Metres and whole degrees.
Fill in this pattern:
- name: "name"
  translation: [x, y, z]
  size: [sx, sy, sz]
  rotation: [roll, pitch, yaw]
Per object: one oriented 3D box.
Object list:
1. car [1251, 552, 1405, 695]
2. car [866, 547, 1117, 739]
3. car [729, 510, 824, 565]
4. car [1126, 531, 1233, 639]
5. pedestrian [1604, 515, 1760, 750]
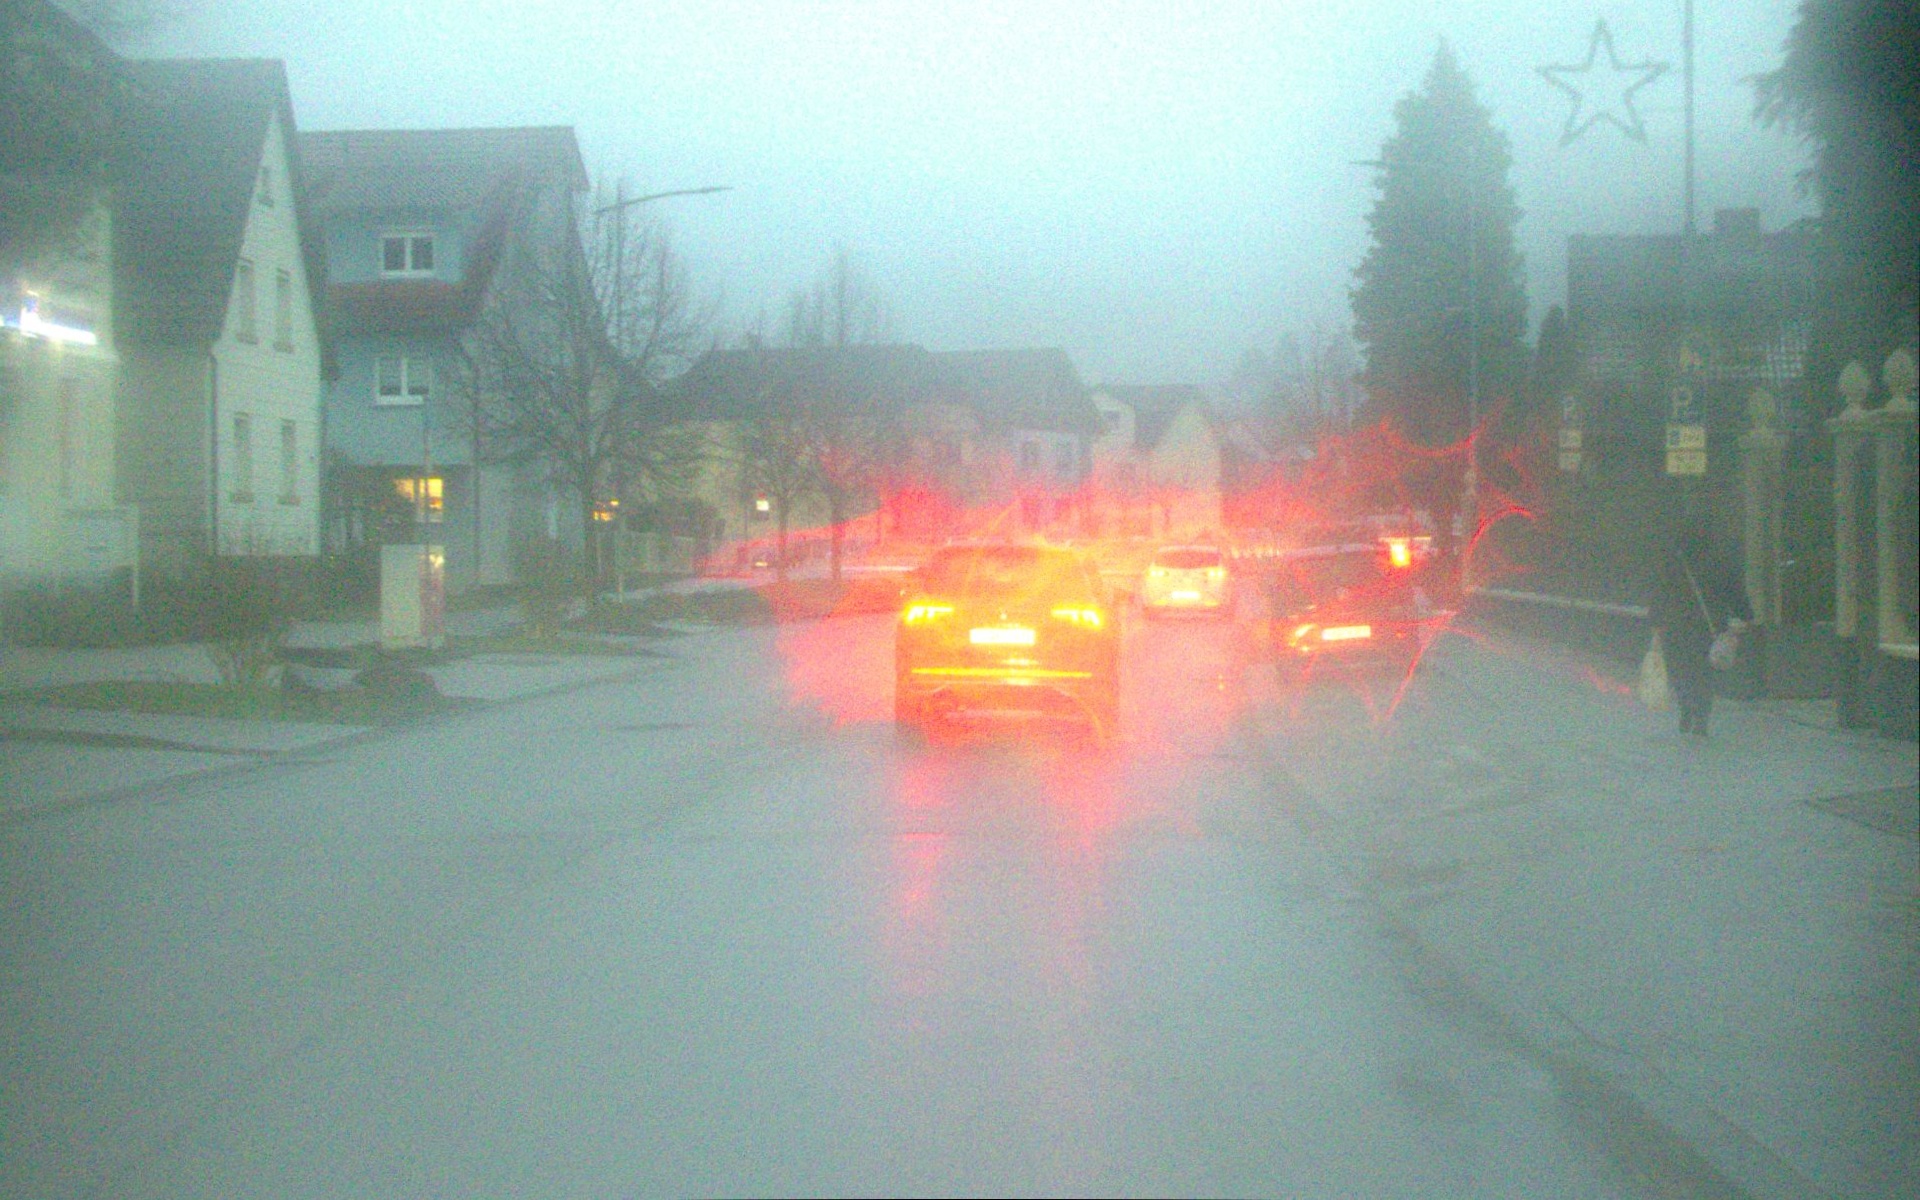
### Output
- name: "car"
  translation: [4.124, 0.238, 38.798]
  size: [1.649, 1.535, 3.390]
  rotation: [0, 1, 5]
- name: "car"
  translation: [0.291, 0.311, 29.540]
  size: [1.993, 1.520, 4.000]
  rotation: [1, 1, 1]
- name: "car"
  translation: [-7.008, -2.392, 131.622]
  size: [1.996, 2.006, 3.995]
  rotation: [2, 2, 23]
- name: "car"
  translation: [4.282, -0.299, 67.362]
  size: [1.994, 2.007, 4.000]
  rotation: [1, 0, 3]
- name: "pedestrian"
  translation: [5.498, 0.237, 26.240]
  size: [0.987, 1.736, 1.056]
  rotation: [-2, 0, 5]
